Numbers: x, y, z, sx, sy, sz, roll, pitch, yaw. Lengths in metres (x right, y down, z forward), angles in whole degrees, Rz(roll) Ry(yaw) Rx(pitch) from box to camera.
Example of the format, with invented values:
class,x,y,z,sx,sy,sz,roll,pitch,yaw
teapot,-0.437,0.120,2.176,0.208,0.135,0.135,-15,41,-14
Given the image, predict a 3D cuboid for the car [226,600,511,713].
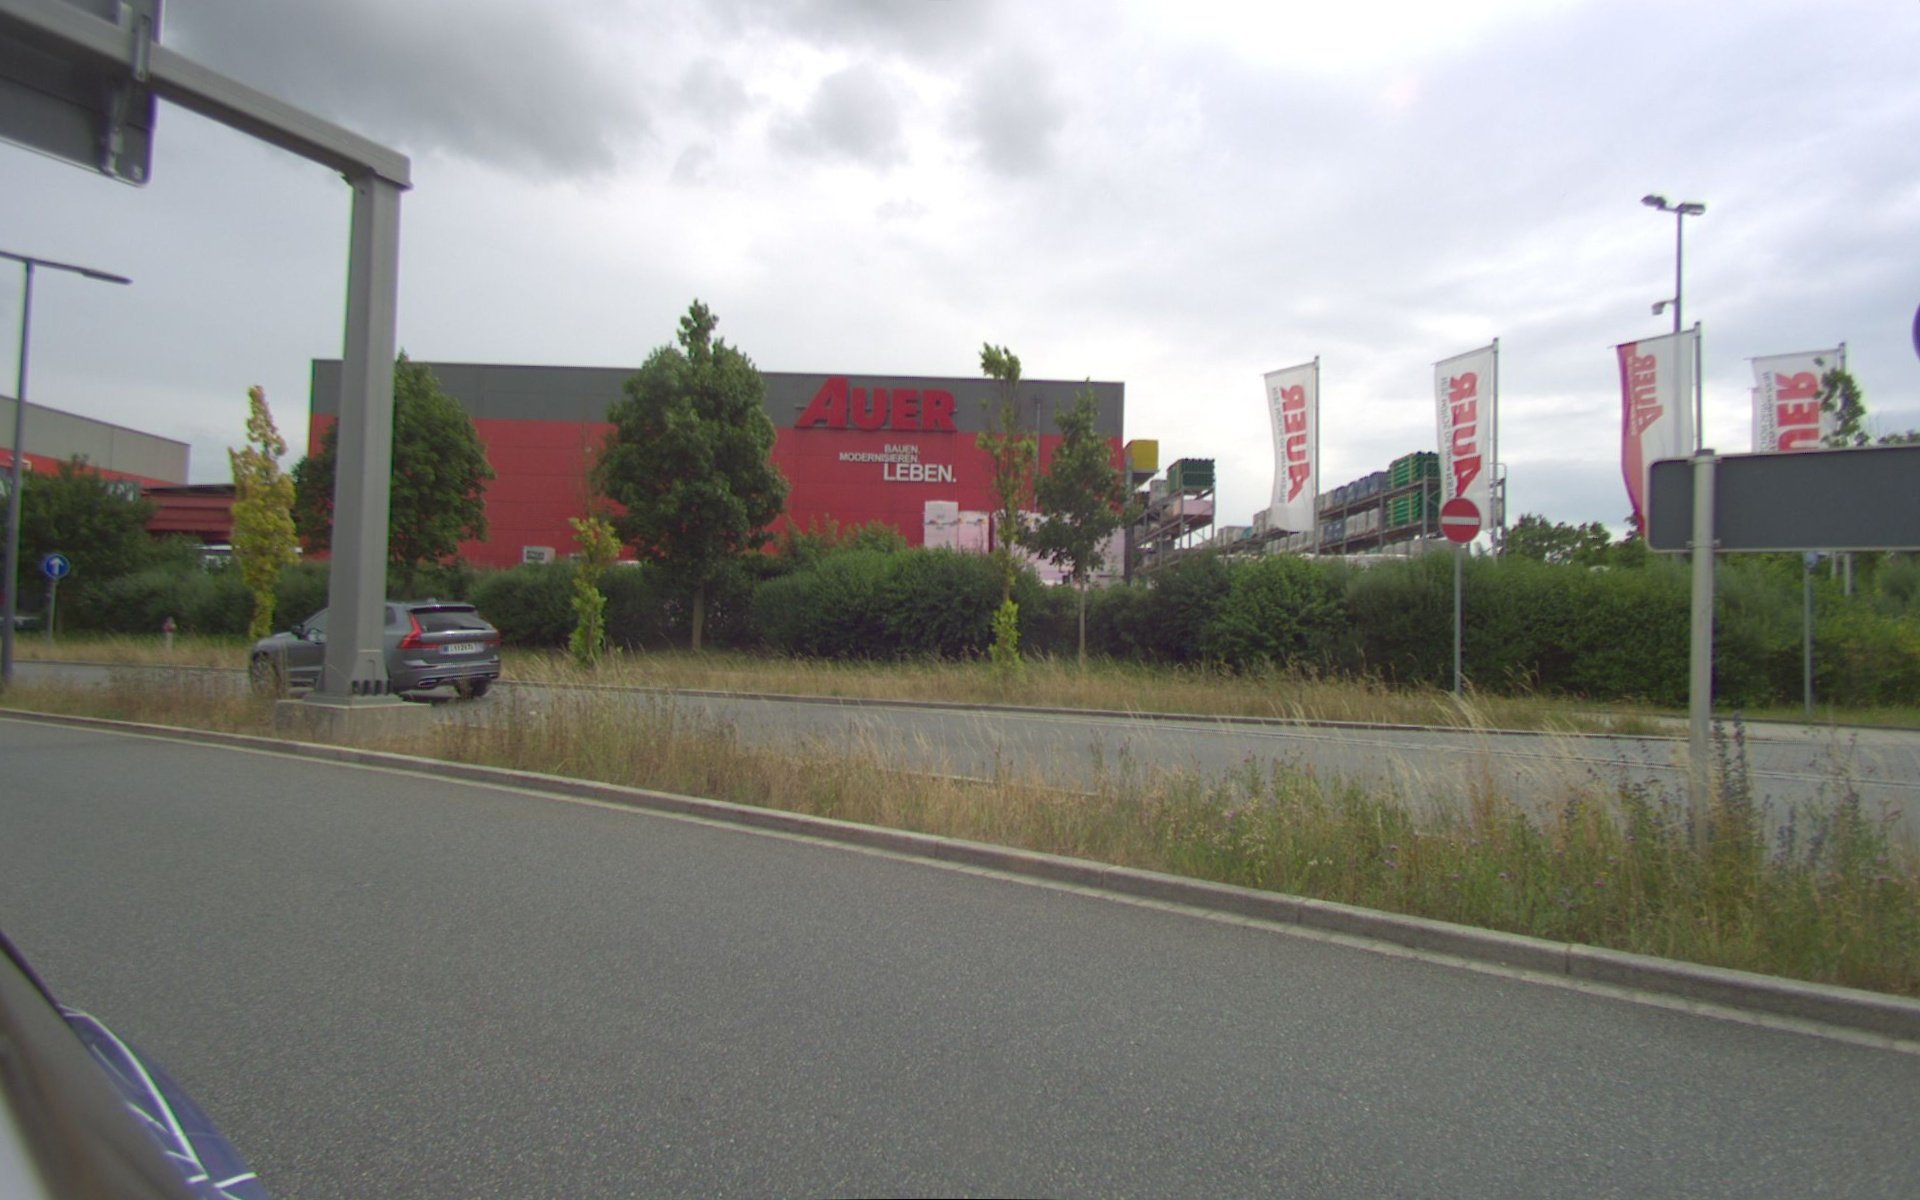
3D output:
class,x,y,z,sx,sy,sz,roll,pitch,yaw
car,-9.753,0.851,16.621,4.662,1.642,1.799,-1,0,27
